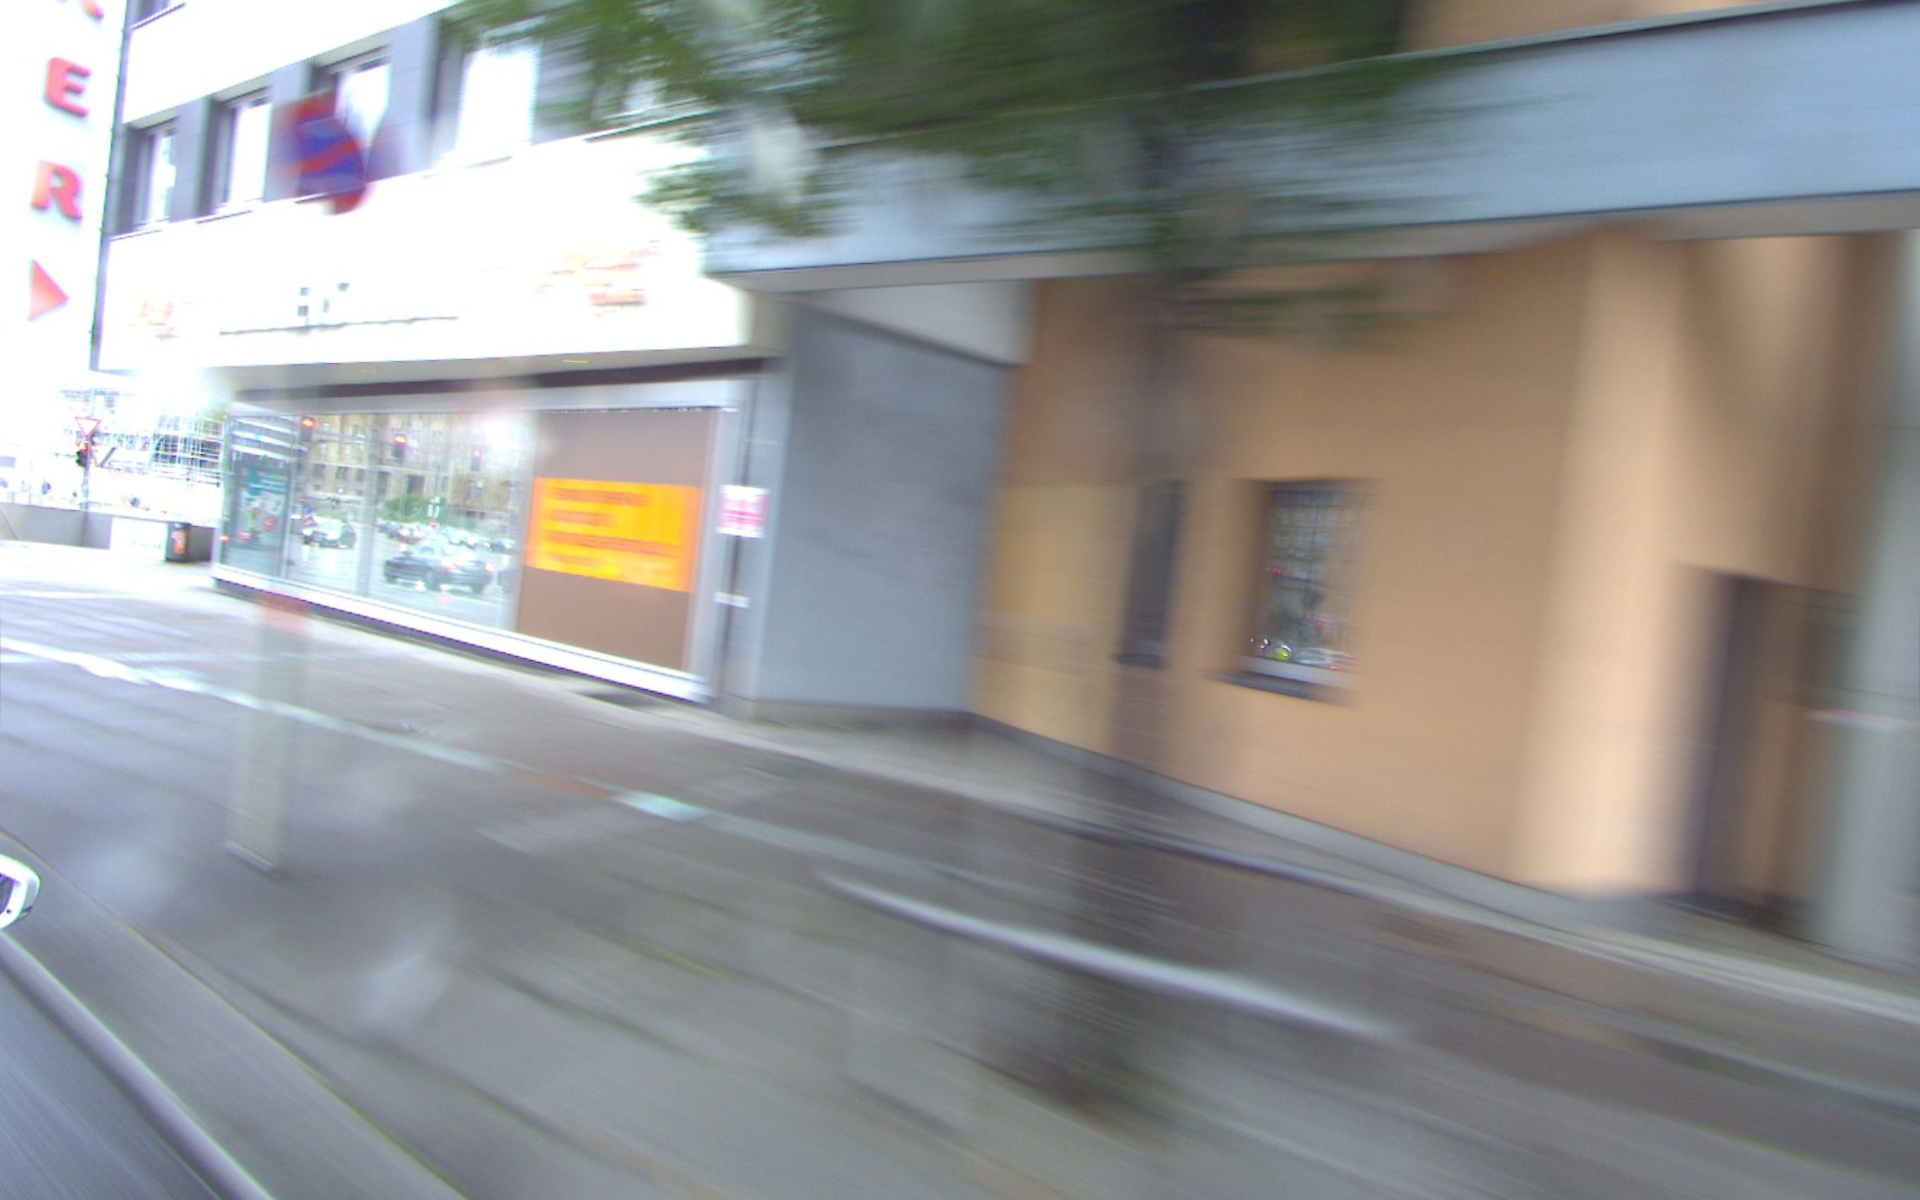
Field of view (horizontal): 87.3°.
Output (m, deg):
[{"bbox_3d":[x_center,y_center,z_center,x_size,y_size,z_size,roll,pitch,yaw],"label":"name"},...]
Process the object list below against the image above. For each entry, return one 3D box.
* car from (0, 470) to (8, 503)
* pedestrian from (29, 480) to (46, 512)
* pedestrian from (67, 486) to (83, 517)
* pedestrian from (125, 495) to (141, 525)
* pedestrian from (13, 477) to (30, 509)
[{"bbox_3d":[-55.398,-6.610,55.009,1.968,1.786,4.409,6,-2,34],"label":"car"},{"bbox_3d":[-58.476,-6.573,63.783,0.357,1.921,0.575,6,-1,36],"label":"pedestrian"},{"bbox_3d":[-56.794,-6.302,64.556,0.356,1.921,0.575,6,-1,33],"label":"pedestrian"},{"bbox_3d":[-54.838,-5.984,66.729,0.356,1.921,0.575,6,-1,33],"label":"pedestrian"},{"bbox_3d":[-59.624,-6.773,63.916,0.357,1.921,0.575,6,-1,36],"label":"pedestrian"}]
